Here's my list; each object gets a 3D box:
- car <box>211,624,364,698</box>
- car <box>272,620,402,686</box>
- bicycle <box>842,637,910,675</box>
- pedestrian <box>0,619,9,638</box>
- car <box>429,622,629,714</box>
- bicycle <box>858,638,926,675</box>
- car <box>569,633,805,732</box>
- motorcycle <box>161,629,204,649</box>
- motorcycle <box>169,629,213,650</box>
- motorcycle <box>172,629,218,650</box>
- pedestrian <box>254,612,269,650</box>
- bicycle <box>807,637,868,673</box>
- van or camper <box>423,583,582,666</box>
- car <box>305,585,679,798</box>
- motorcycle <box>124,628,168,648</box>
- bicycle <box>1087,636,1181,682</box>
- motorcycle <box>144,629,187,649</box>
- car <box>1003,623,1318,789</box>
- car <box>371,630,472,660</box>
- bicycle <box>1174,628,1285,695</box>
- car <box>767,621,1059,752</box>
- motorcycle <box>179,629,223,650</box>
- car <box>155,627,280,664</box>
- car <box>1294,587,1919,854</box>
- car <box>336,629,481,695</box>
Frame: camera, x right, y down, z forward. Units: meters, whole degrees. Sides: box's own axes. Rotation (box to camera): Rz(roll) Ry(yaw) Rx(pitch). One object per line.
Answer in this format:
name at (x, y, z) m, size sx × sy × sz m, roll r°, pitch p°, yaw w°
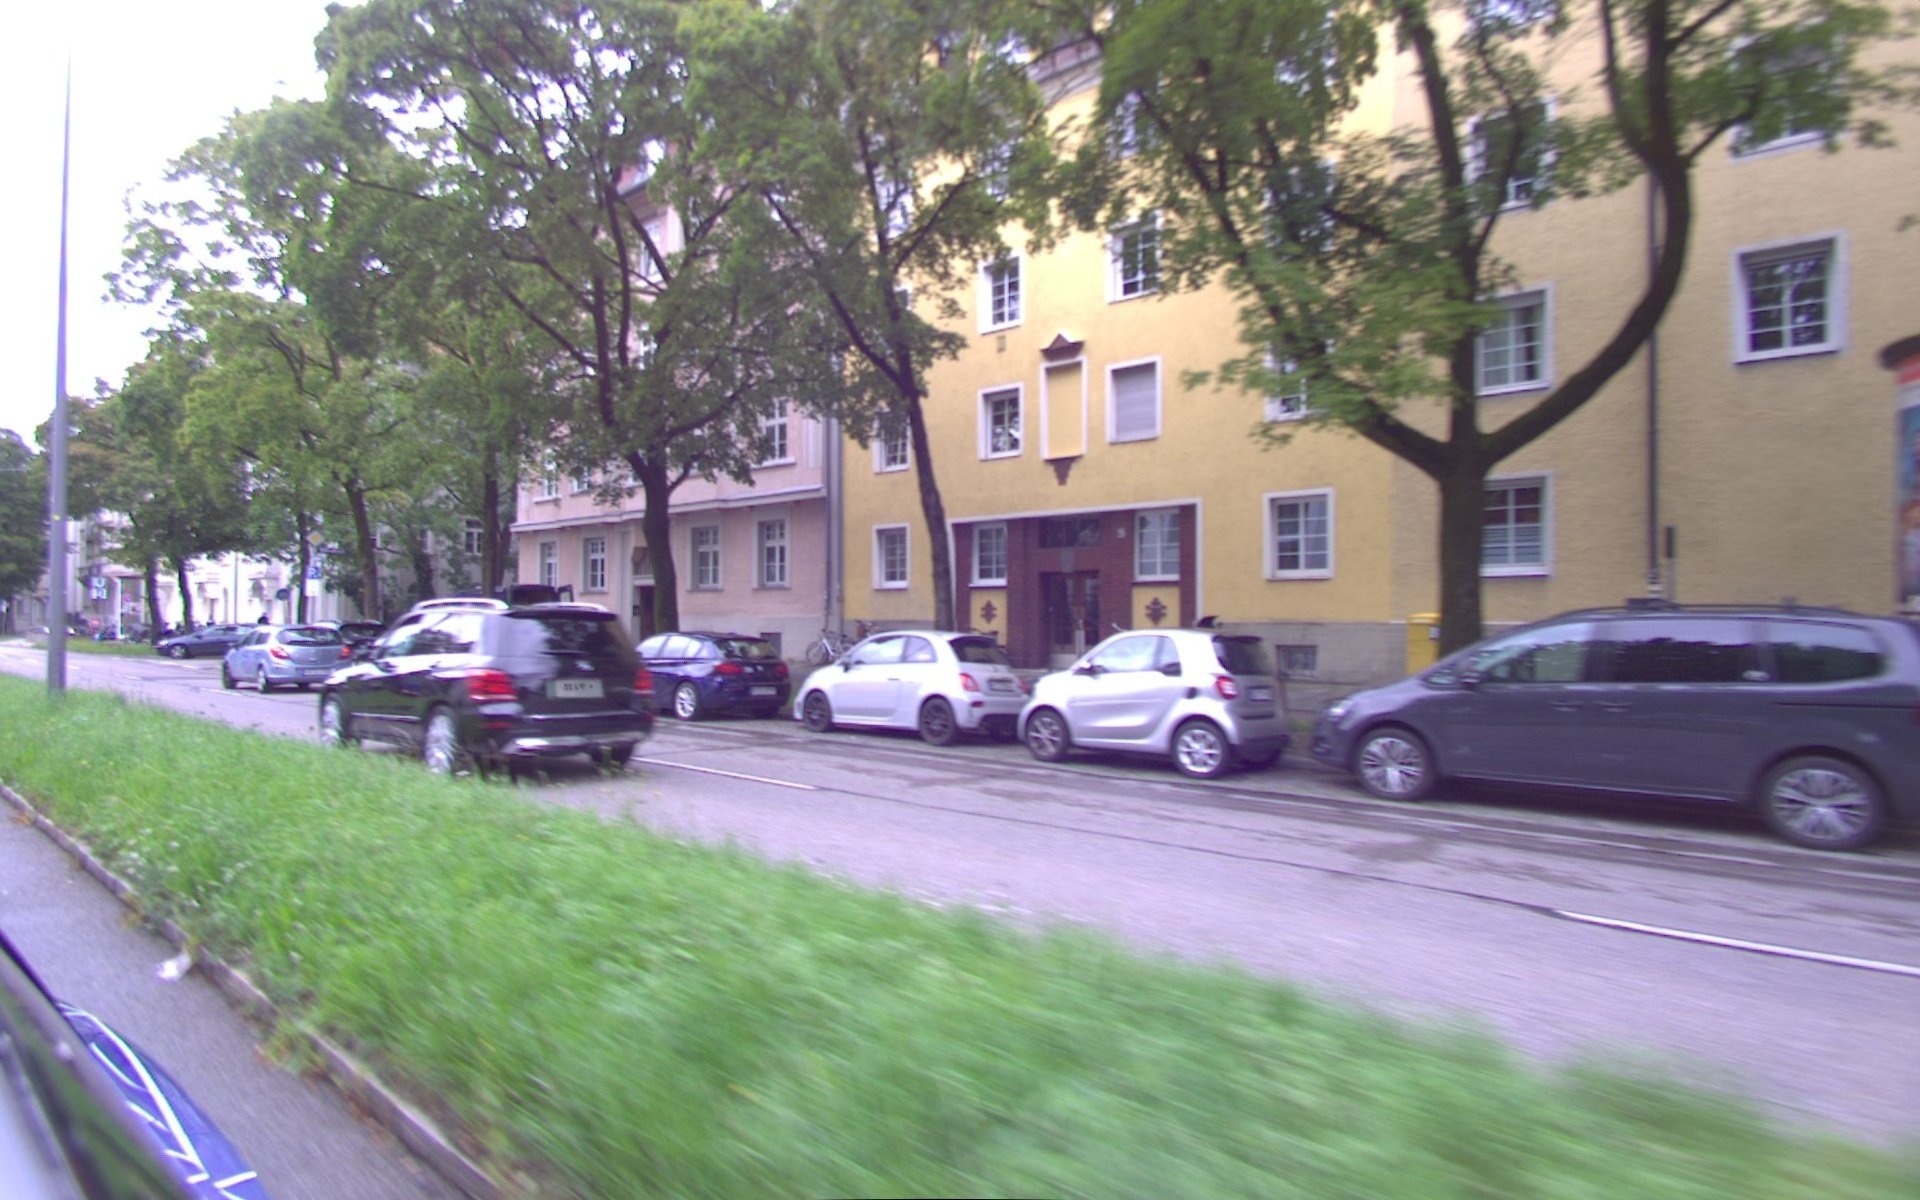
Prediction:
car at (-15.143, 1.337, 22.727) m, size 4.055 × 1.518 × 1.792 m, roll -1°, pitch -4°, yaw 41°
car at (-17.459, 1.416, 28.278) m, size 4.436 × 1.699 × 1.854 m, roll -1°, pitch -2°, yaw 41°
bicycle at (-2.135, 1.390, 25.576) m, size 1.929 × 0.906 × 0.536 m, roll -1°, pitch -2°, yaw 41°
pedestrian at (-100.625, 3.015, 106.597) m, size 0.631 × 2.058 × 0.739 m, roll 1°, pitch -2°, yaw -38°
car at (-8.886, 1.284, 20.670) m, size 4.767 × 1.658 × 1.859 m, roll -1°, pitch -2°, yaw 41°
bicycle at (-1.752, 1.431, 26.031) m, size 1.929 × 0.906 × 0.536 m, roll -1°, pitch -2°, yaw 41°
car at (-4.677, 1.277, 17.005) m, size 4.360 × 1.416 × 1.709 m, roll -1°, pitch -2°, yaw 41°
motorcycle at (-45.069, 2.256, 58.697) m, size 1.926 × 1.158 × 0.597 m, roll 0°, pitch -1°, yaw -12°
motorcycle at (-43.874, 2.235, 57.764) m, size 1.926 × 1.158 × 0.597 m, roll 0°, pitch -1°, yaw -12°
motorcycle at (-42.142, 2.181, 55.767) m, size 1.926 × 1.158 × 0.597 m, roll 0°, pitch -1°, yaw -12°
pedestrian at (-38.696, 1.718, 56.045) m, size 0.590 × 2.075 × 0.686 m, roll 1°, pitch -2°, yaw -30°
bicycle at (-3.315, 1.469, 27.241) m, size 1.929 × 0.906 × 0.479 m, roll -1°, pitch -2°, yaw 41°
van or camper at (-15.775, 0.837, 34.645) m, size 6.847 × 2.599 × 2.321 m, roll -1°, pitch -1°, yaw 41°
car at (-4.844, 0.803, 10.191) m, size 4.366 × 1.692 × 1.751 m, roll -1°, pitch -3°, yaw 41°
motorcycle at (-48.629, 2.293, 60.484) m, size 1.924 × 1.158 × 0.598 m, roll 0°, pitch -1°, yaw -29°
bicycle at (3.633, 1.219, 21.256) m, size 1.929 × 0.906 × 0.536 m, roll -1°, pitch -2°, yaw 41°
motorcycle at (-46.703, 2.267, 59.522) m, size 1.926 × 1.158 × 0.597 m, roll 0°, pitch -1°, yaw -12°
car at (2.195, 1.052, 11.302) m, size 3.006 × 1.569 × 1.710 m, roll -1°, pitch -2°, yaw 39°
car at (-25.928, 2.138, 48.792) m, size 1.793 × 1.332 × 3.948 m, roll -1°, pitch -1°, yaw 39°
bicycle at (5.172, 1.151, 19.516) m, size 1.929 × 1.231 × 0.762 m, roll -1°, pitch -2°, yaw 41°
car at (-0.757, 1.089, 14.198) m, size 4.055 × 1.573 × 1.709 m, roll -1°, pitch -2°, yaw 41°
motorcycle at (-42.640, 2.221, 56.871) m, size 1.926 × 1.158 × 0.597 m, roll 0°, pitch -1°, yaw -12°
car at (-30.782, 1.874, 42.085) m, size 3.931 × 1.386 × 1.868 m, roll 0°, pitch -2°, yaw -27°
car at (5.481, 0.833, 8.517) m, size 4.764 × 1.741 × 1.791 m, roll -1°, pitch -2°, yaw 41°
car at (-13.576, 1.452, 24.809) m, size 4.490 × 1.465 × 1.675 m, roll -1°, pitch -2°, yaw 41°
